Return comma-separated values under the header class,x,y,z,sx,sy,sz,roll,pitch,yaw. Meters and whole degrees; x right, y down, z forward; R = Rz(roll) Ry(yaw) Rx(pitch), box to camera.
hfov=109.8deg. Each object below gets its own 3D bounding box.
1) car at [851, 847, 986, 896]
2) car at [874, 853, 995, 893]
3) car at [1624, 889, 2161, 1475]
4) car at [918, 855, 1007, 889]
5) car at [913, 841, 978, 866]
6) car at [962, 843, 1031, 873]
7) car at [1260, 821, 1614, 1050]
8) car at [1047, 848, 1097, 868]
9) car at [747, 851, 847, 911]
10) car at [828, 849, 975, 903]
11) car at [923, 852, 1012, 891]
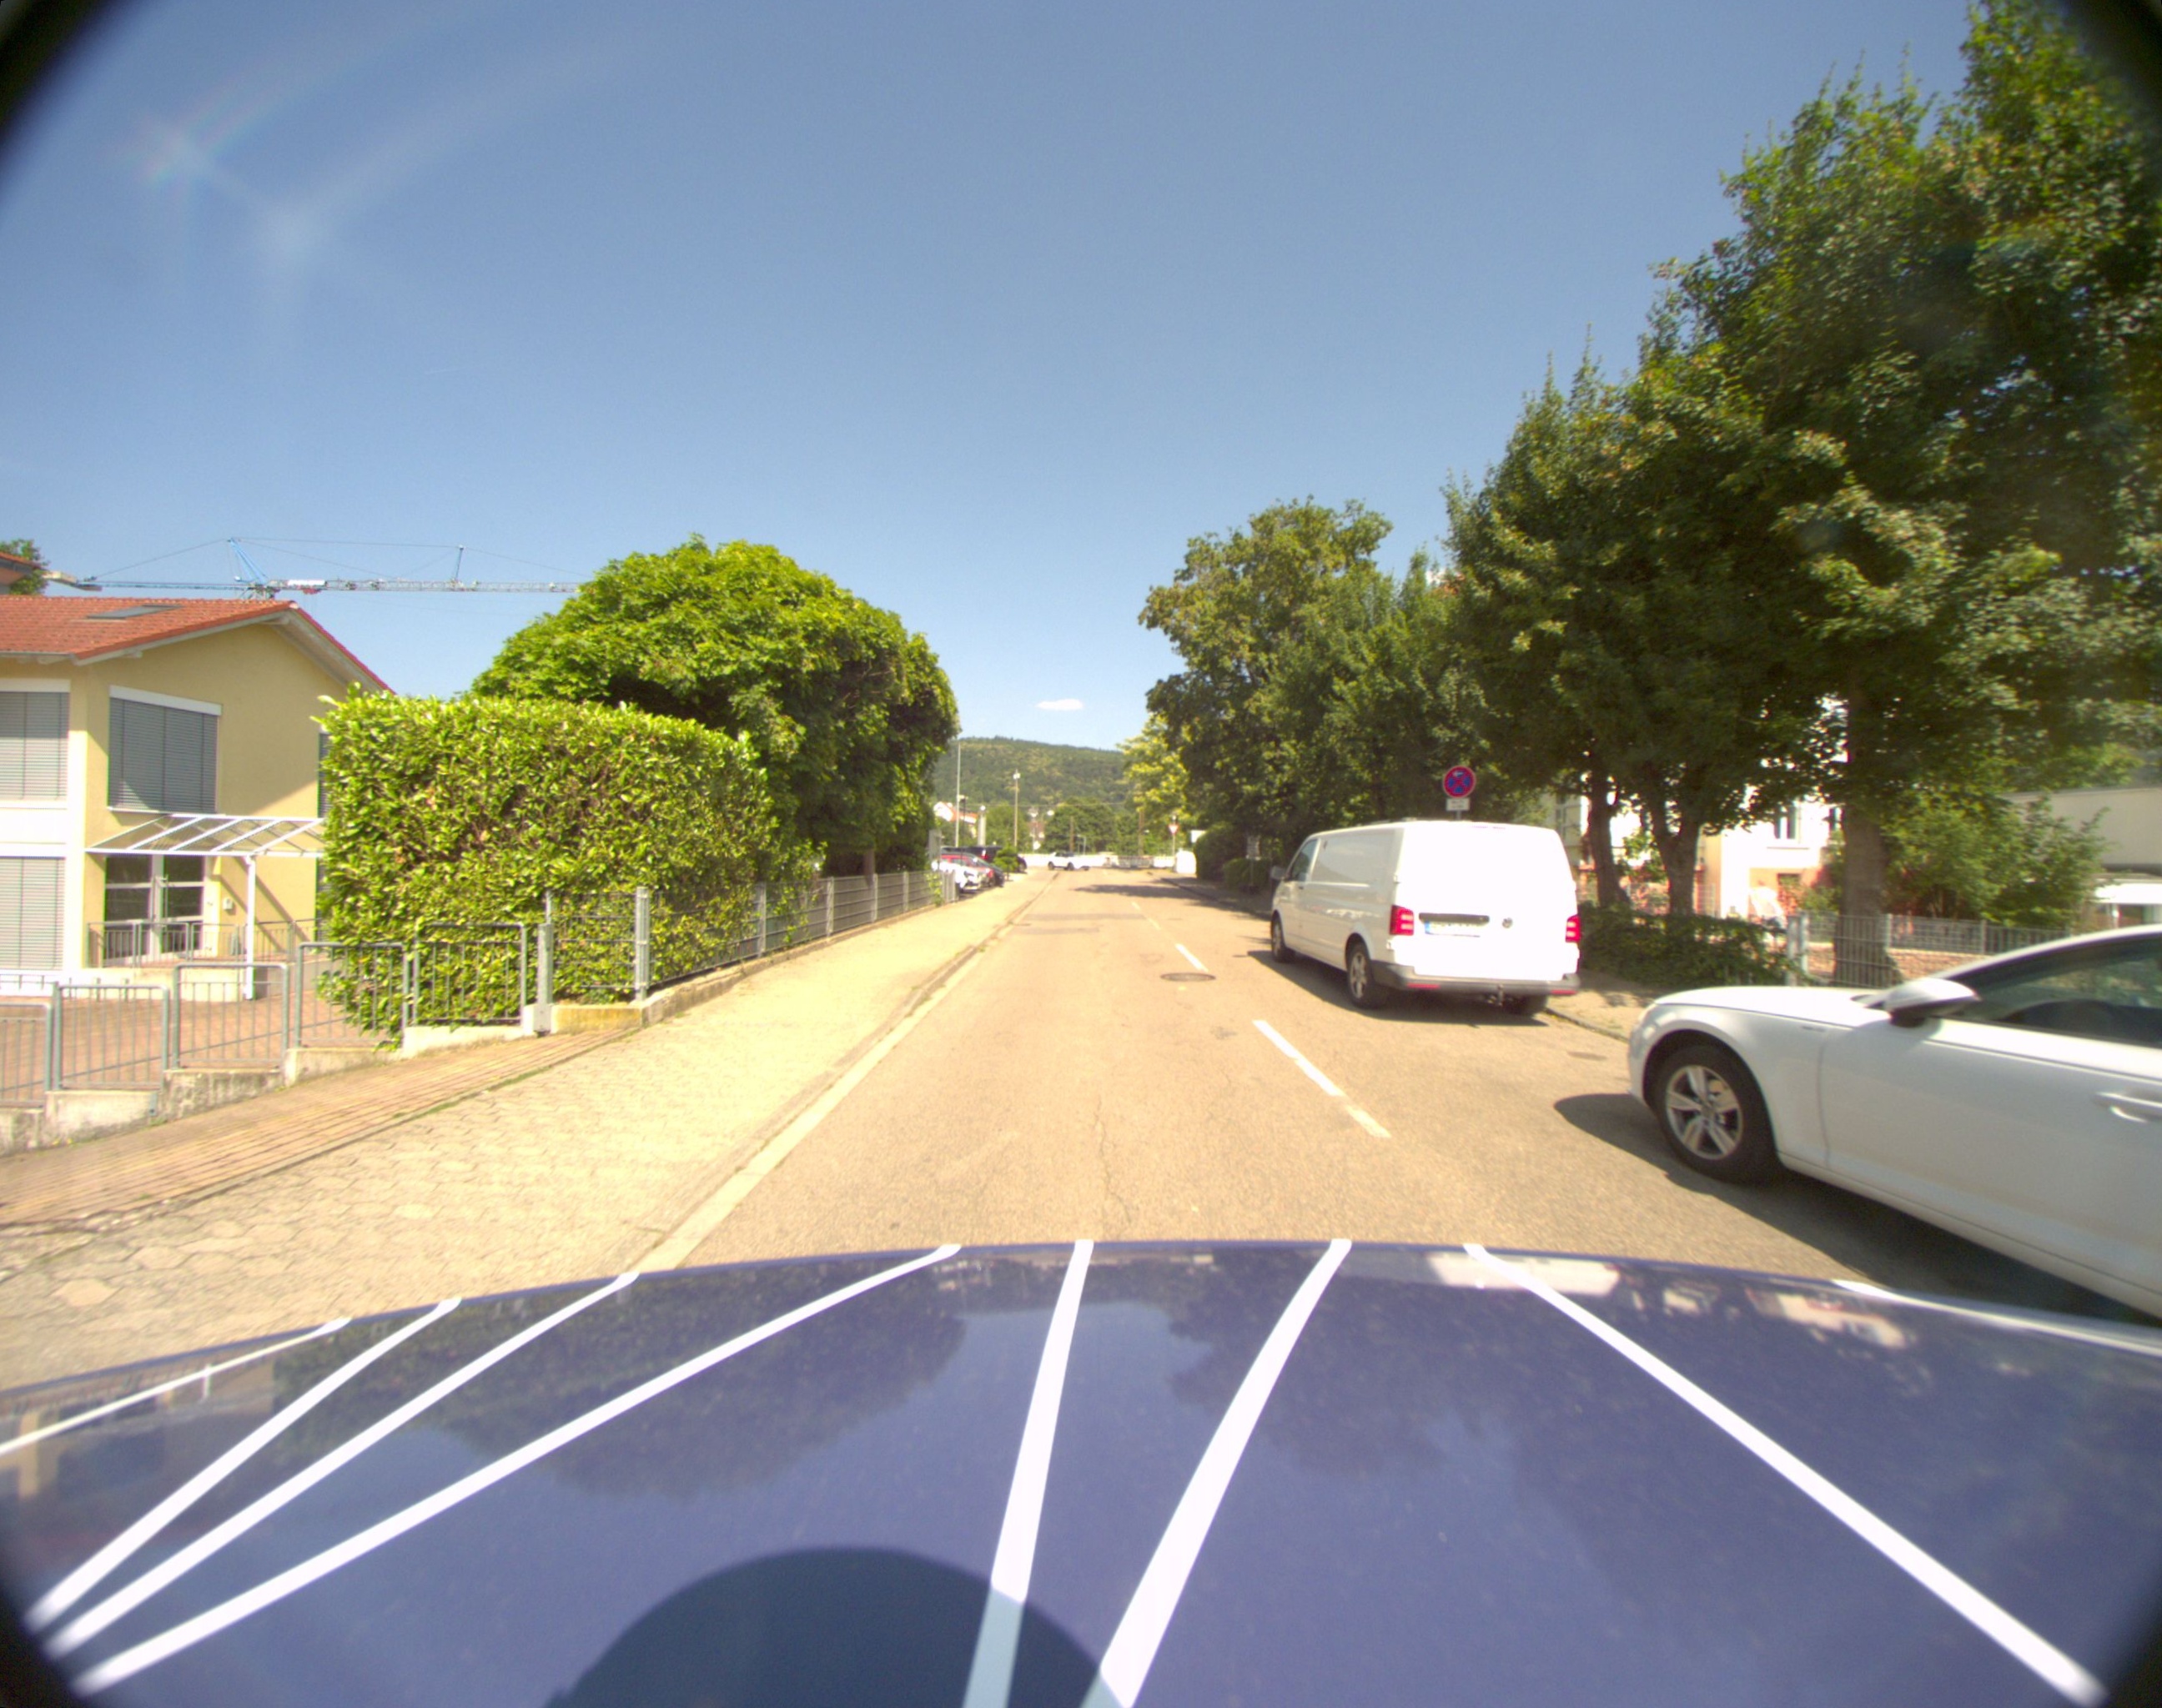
class,x,y,z,sx,sy,sz,roll,pitch,yaw
car,-5.767,0.596,27.407,4.415,1.519,1.896,3,1,-2
car,-5.718,0.725,30.040,4.414,1.488,1.897,1,0,-1
car,3.914,1.002,1.952,1.719,1.535,4.399,2,0,-2
car,-5.034,0.760,32.489,3.558,1.327,1.558,1,0,-1
car,-9.597,-0.051,54.339,2.012,1.682,4.826,-2,0,27
car,-5.242,0.235,47.621,1.847,1.772,4.300,2,1,36
car,3.835,0.740,9.453,1.976,2.002,5.056,2,0,0
car,-0.749,0.343,61.689,1.901,1.412,4.158,2,1,-38
car,-9.561,0.839,25.928,1.999,1.849,3.788,0,1,0
car,-5.797,0.700,24.928,4.415,1.644,1.843,1,0,-2
car,-5.229,0.799,35.415,3.812,1.614,1.759,-2,0,-1
